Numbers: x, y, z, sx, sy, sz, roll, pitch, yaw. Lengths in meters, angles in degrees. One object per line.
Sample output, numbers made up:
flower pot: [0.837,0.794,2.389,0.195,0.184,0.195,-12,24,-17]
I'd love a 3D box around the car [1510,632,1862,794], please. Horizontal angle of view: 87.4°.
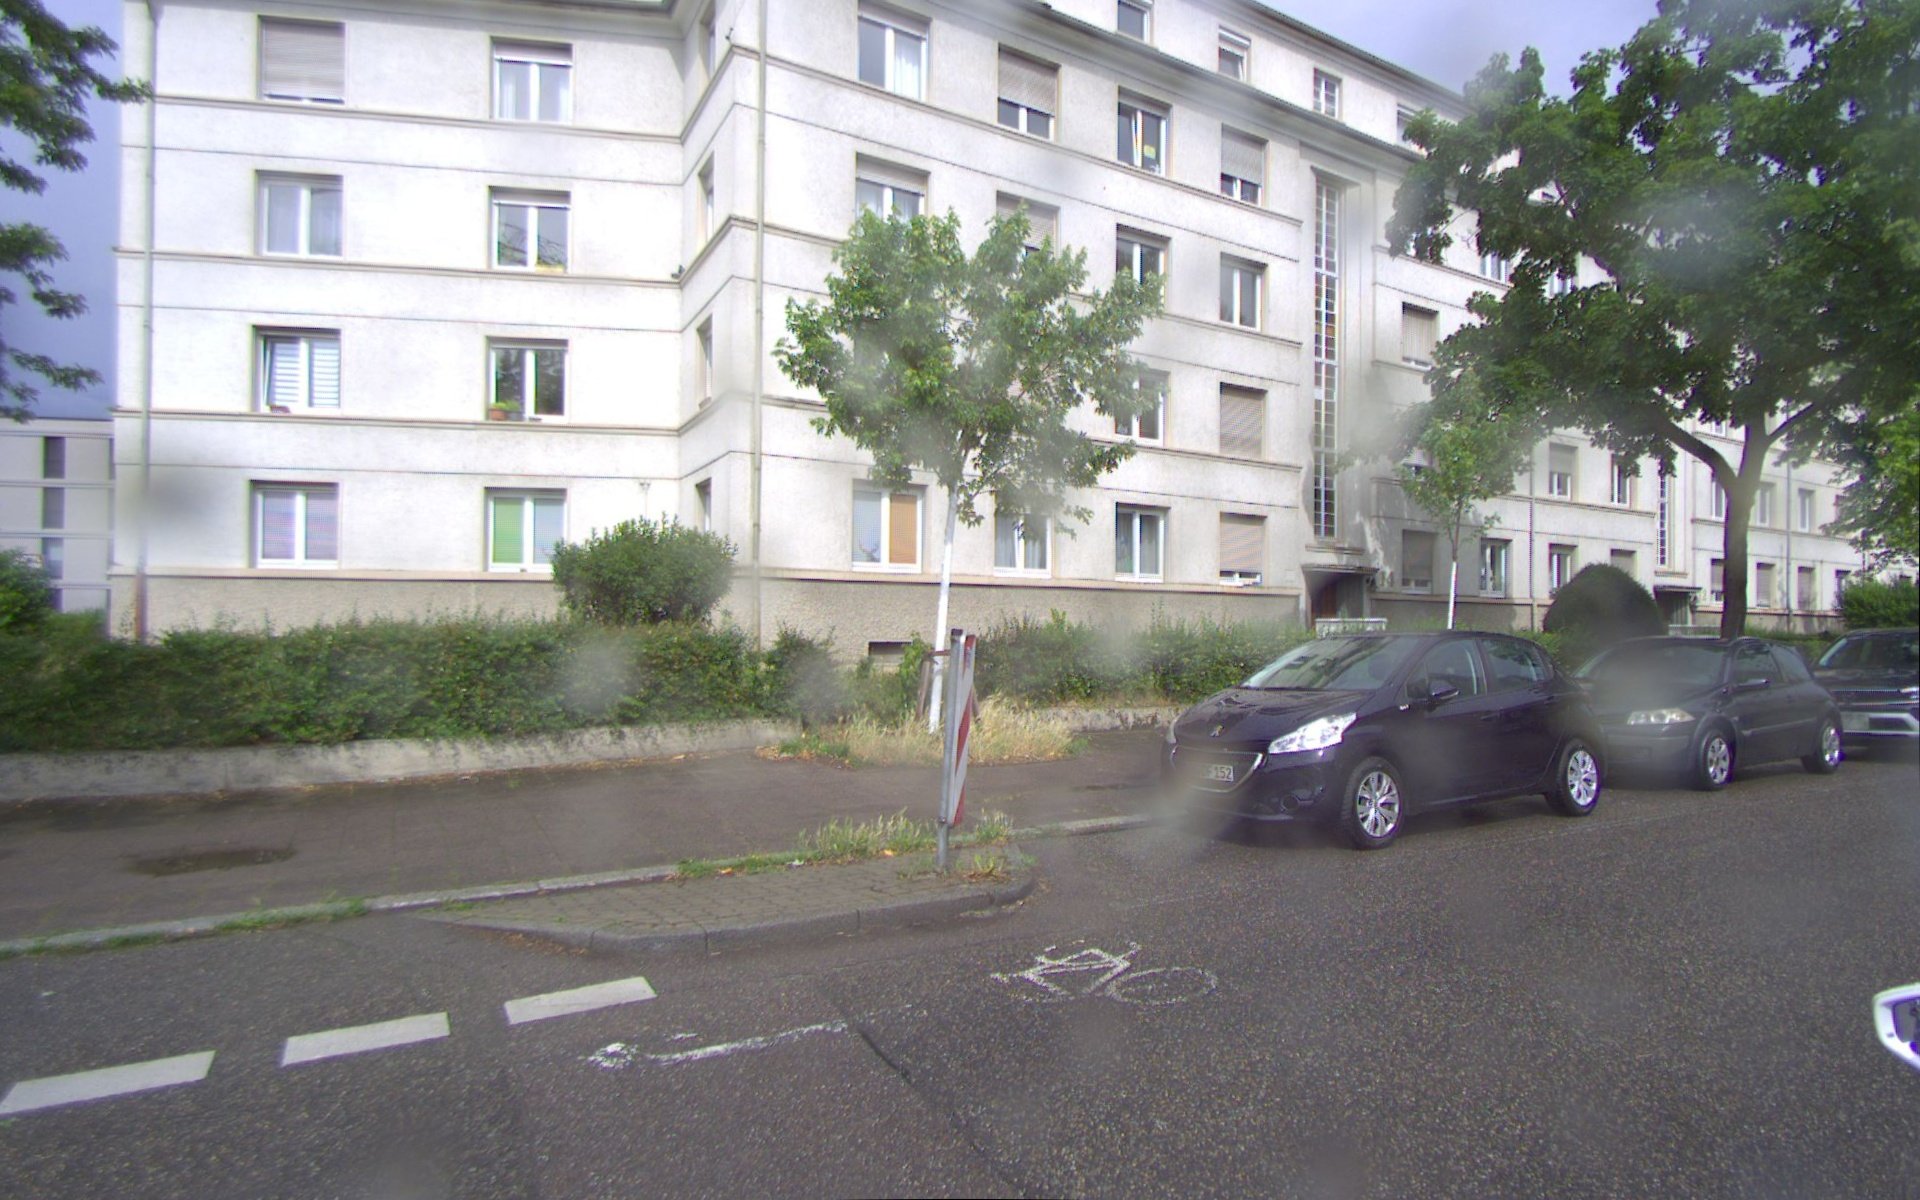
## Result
car: [7.786,1.083,10.691,4.006,1.436,1.578,1,-3,-31]

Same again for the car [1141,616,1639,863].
car: [3.489,0.937,7.952,4.018,1.525,1.578,1,-3,-31]

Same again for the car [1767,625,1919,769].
car: [12.024,1.137,12.673,3.968,1.596,1.578,1,-3,-31]

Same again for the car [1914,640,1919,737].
car: [16.402,1.338,15.404,3.875,1.436,1.578,1,-3,-31]
